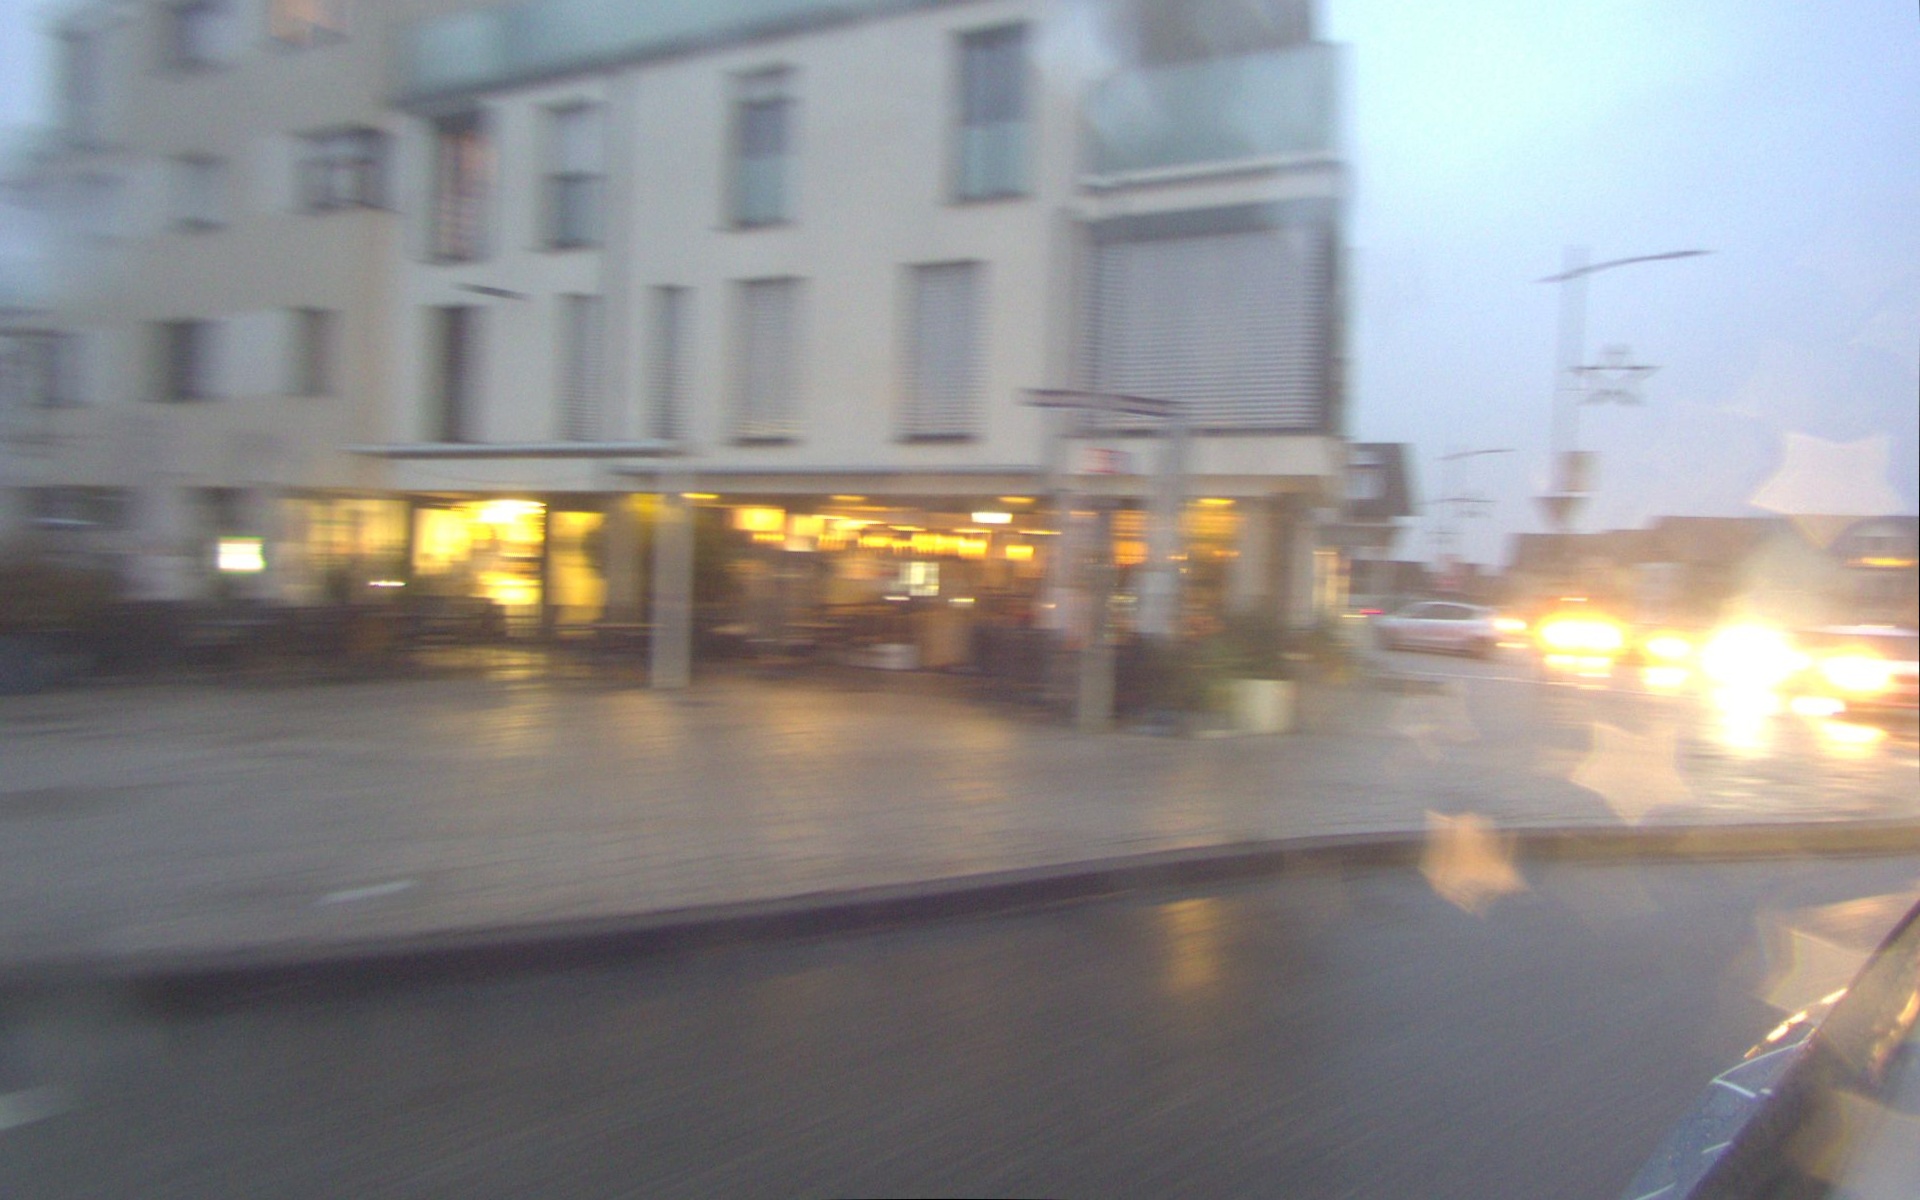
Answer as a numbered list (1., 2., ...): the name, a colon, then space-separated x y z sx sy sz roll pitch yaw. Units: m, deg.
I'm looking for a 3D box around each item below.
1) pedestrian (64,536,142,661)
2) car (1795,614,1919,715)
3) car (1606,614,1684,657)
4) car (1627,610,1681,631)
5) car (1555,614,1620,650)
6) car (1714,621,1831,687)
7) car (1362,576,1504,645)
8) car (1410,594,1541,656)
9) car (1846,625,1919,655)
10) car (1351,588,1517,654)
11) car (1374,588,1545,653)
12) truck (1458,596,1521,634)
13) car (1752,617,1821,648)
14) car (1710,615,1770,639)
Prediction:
1. pedestrian: -10.485 -0.024 12.393 0.445 1.473 0.551 2 0 13
2. car: 17.216 1.131 18.863 1.666 1.644 3.963 2 1 27
3. car: 25.908 1.286 38.383 1.723 1.461 3.967 1 0 24
4. car: 59.366 1.733 86.661 1.770 1.487 4.607 3 1 7
5. car: 29.549 1.479 47.775 1.811 1.564 3.691 1 0 19
6. car: 20.669 1.308 25.885 1.557 1.487 3.583 1 0 26
7. car: 17.599 0.357 37.915 4.505 1.957 1.960 8 2 22
8. car: 20.192 0.946 39.824 4.100 1.653 1.745 11 2 16
9. car: 54.285 2.324 59.171 1.772 1.487 4.242 3 1 12
10. car: 13.412 0.551 28.893 3.945 1.521 1.805 4 2 16
11. car: 15.388 0.582 31.477 4.469 1.510 1.962 6 2 20
12. truck: 34.038 0.927 65.268 2.217 2.258 6.076 2 1 15
13. car: 56.549 2.190 69.347 1.772 1.850 4.243 3 1 11
14. car: 57.572 1.975 74.778 1.648 1.487 4.009 5 1 7
